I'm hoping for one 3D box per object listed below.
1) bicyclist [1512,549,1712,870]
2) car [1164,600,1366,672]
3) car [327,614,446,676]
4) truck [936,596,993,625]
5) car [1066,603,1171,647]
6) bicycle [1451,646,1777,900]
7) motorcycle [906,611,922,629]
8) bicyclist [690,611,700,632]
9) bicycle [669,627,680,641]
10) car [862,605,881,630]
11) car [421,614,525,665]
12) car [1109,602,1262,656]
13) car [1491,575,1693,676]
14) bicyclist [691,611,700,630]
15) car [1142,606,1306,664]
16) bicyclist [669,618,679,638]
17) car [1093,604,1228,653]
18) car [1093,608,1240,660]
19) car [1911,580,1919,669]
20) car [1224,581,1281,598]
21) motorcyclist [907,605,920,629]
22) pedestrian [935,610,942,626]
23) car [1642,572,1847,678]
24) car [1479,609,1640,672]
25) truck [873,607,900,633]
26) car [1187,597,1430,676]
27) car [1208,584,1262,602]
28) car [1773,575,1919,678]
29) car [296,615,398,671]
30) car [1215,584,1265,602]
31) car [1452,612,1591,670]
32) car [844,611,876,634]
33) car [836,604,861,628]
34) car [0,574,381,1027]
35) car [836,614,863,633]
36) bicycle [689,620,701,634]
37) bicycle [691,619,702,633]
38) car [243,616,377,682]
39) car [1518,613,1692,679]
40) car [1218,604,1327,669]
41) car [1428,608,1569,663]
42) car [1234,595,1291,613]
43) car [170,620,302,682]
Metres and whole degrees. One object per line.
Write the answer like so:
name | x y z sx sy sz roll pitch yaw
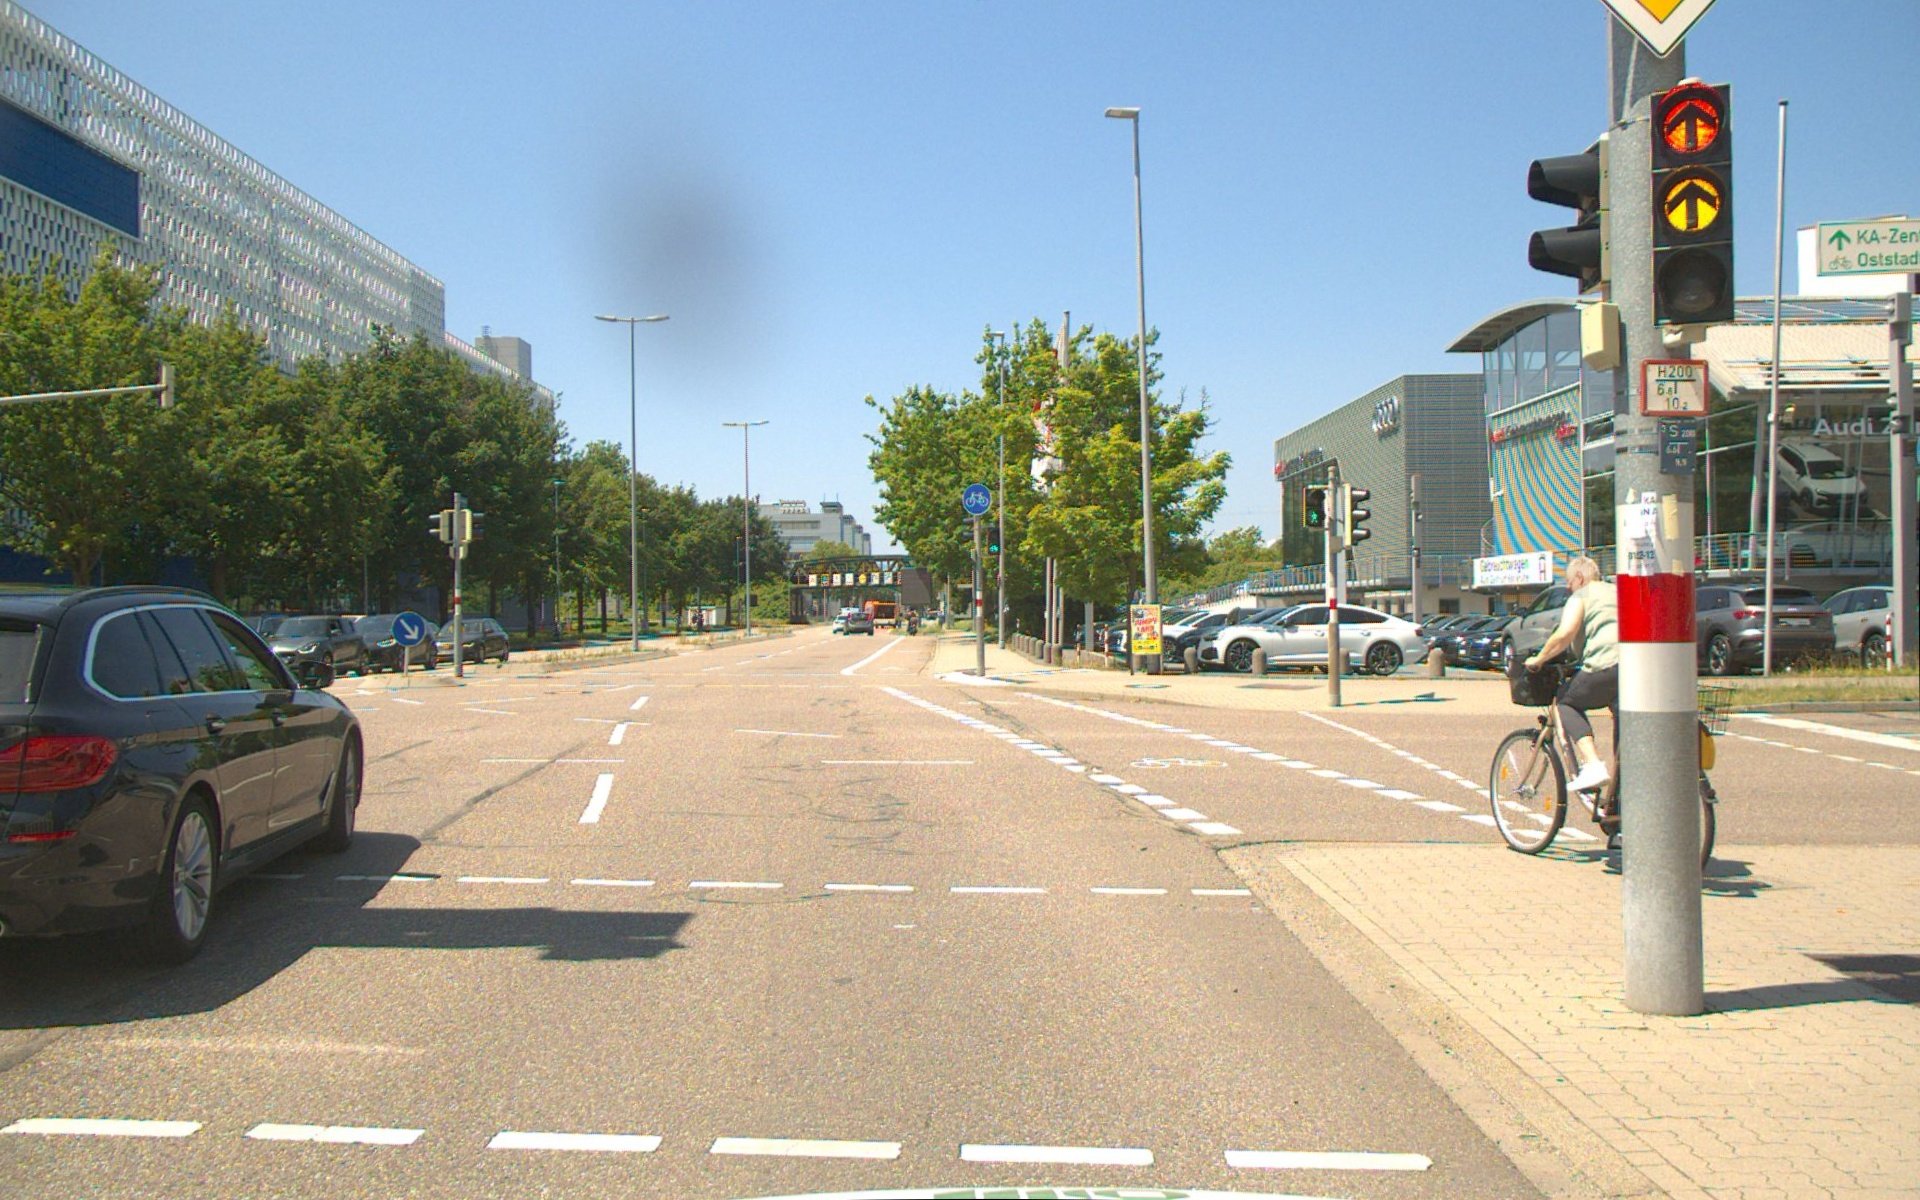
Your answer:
bicyclist | 3.500 0.564 8.925 0.618 1.634 0.821 1 -1 -18
car | 6.557 0.769 35.884 4.013 1.415 1.868 2 -1 -1
car | -15.435 1.198 44.748 1.691 1.531 4.243 -3 -1 0
truck | 0.475 1.081 171.752 5.496 2.900 2.617 1 0 -11
car | 5.758 0.909 60.350 3.607 1.479 1.833 2 -1 -1
bicycle | 3.480 0.865 8.998 0.618 1.153 1.886 0 0 -17
motorcycle | -2.959 1.293 105.866 0.703 1.124 1.825 1 -1 -10
bicyclist | -21.963 1.746 137.185 0.730 1.715 0.951 -1 -1 -4
bicycle | -23.414 2.788 135.466 0.624 1.153 1.970 -1 -1 -2
car | -10.464 2.077 196.058 2.031 2.904 6.762 -1 0 -2
car | -15.352 1.225 52.371 1.691 1.471 4.720 -3 -1 2
car | 6.298 0.810 46.539 4.016 1.372 1.868 2 -1 -1
car | 11.036 0.481 29.246 1.830 1.586 4.503 -2 -2 0
bicyclist | -23.449 1.806 146.742 0.621 1.657 1.044 -3 -1 -2
car | 6.939 0.913 43.778 4.013 1.388 1.874 2 -1 -1
bicyclist | -23.418 2.269 135.402 0.624 1.610 0.884 -1 -1 -2
car | 6.299 0.890 52.282 4.017 1.429 1.868 2 -1 -1
car | 6.128 0.997 49.412 4.140 1.415 1.868 2 -1 -1
car | 18.723 0.482 29.078 1.604 1.644 3.814 0 1 -5
car | 21.466 -0.791 121.529 3.862 1.232 1.715 0 -1 -5
motorcyclist | -2.967 1.089 105.930 0.706 1.556 0.868 1 -1 -11
pedestrian | -1.863 1.572 143.119 0.611 1.399 0.564 -1 -1 -3
car | 13.666 0.426 29.067 1.806 1.683 3.999 2 -1 2
car | 16.843 1.131 46.564 3.904 1.650 1.656 2 -1 -1
truck | -7.171 1.959 162.663 2.408 2.452 7.132 1 0 -1
car | 6.956 0.727 33.355 4.497 1.415 1.869 2 -1 1
car | 21.548 -0.547 129.631 3.909 1.335 1.795 1 -1 -5
car | 16.398 0.477 29.262 1.808 1.683 3.994 2 -1 -5
car | -18.595 1.293 50.339 1.691 1.571 3.914 -2 -1 -1
car | 21.199 -0.538 125.246 3.455 1.261 1.675 1 -1 -5
car | 16.691 1.210 49.272 3.573 1.608 1.642 2 -1 -1
car | -6.319 1.392 105.019 1.862 1.400 4.230 -1 0 -2
car | -9.503 1.362 141.696 1.953 2.049 3.998 -1 0 -2
car | -4.021 0.658 7.522 1.764 1.466 4.548 0 0 -8
car | -8.435 1.758 126.536 1.885 1.445 3.998 0 0 -2
bicycle | -21.972 2.269 137.310 0.724 1.145 2.433 -1 0 -3
bicycle | -23.427 2.319 146.860 0.616 1.179 2.116 -3 0 -2
car | -15.129 1.121 38.689 1.610 1.413 3.715 -3 -1 0
car | 17.140 1.212 44.076 3.904 1.626 1.850 2 -1 -1
car | 7.477 0.853 40.009 1.824 1.444 4.663 2 -1 1
car | 16.949 1.095 52.190 3.901 1.601 1.633 2 -1 -1
car | 21.346 0.281 116.839 3.652 1.150 1.682 1 -1 -5
car | -18.351 1.266 42.091 1.627 1.449 4.037 -2 -1 -1
